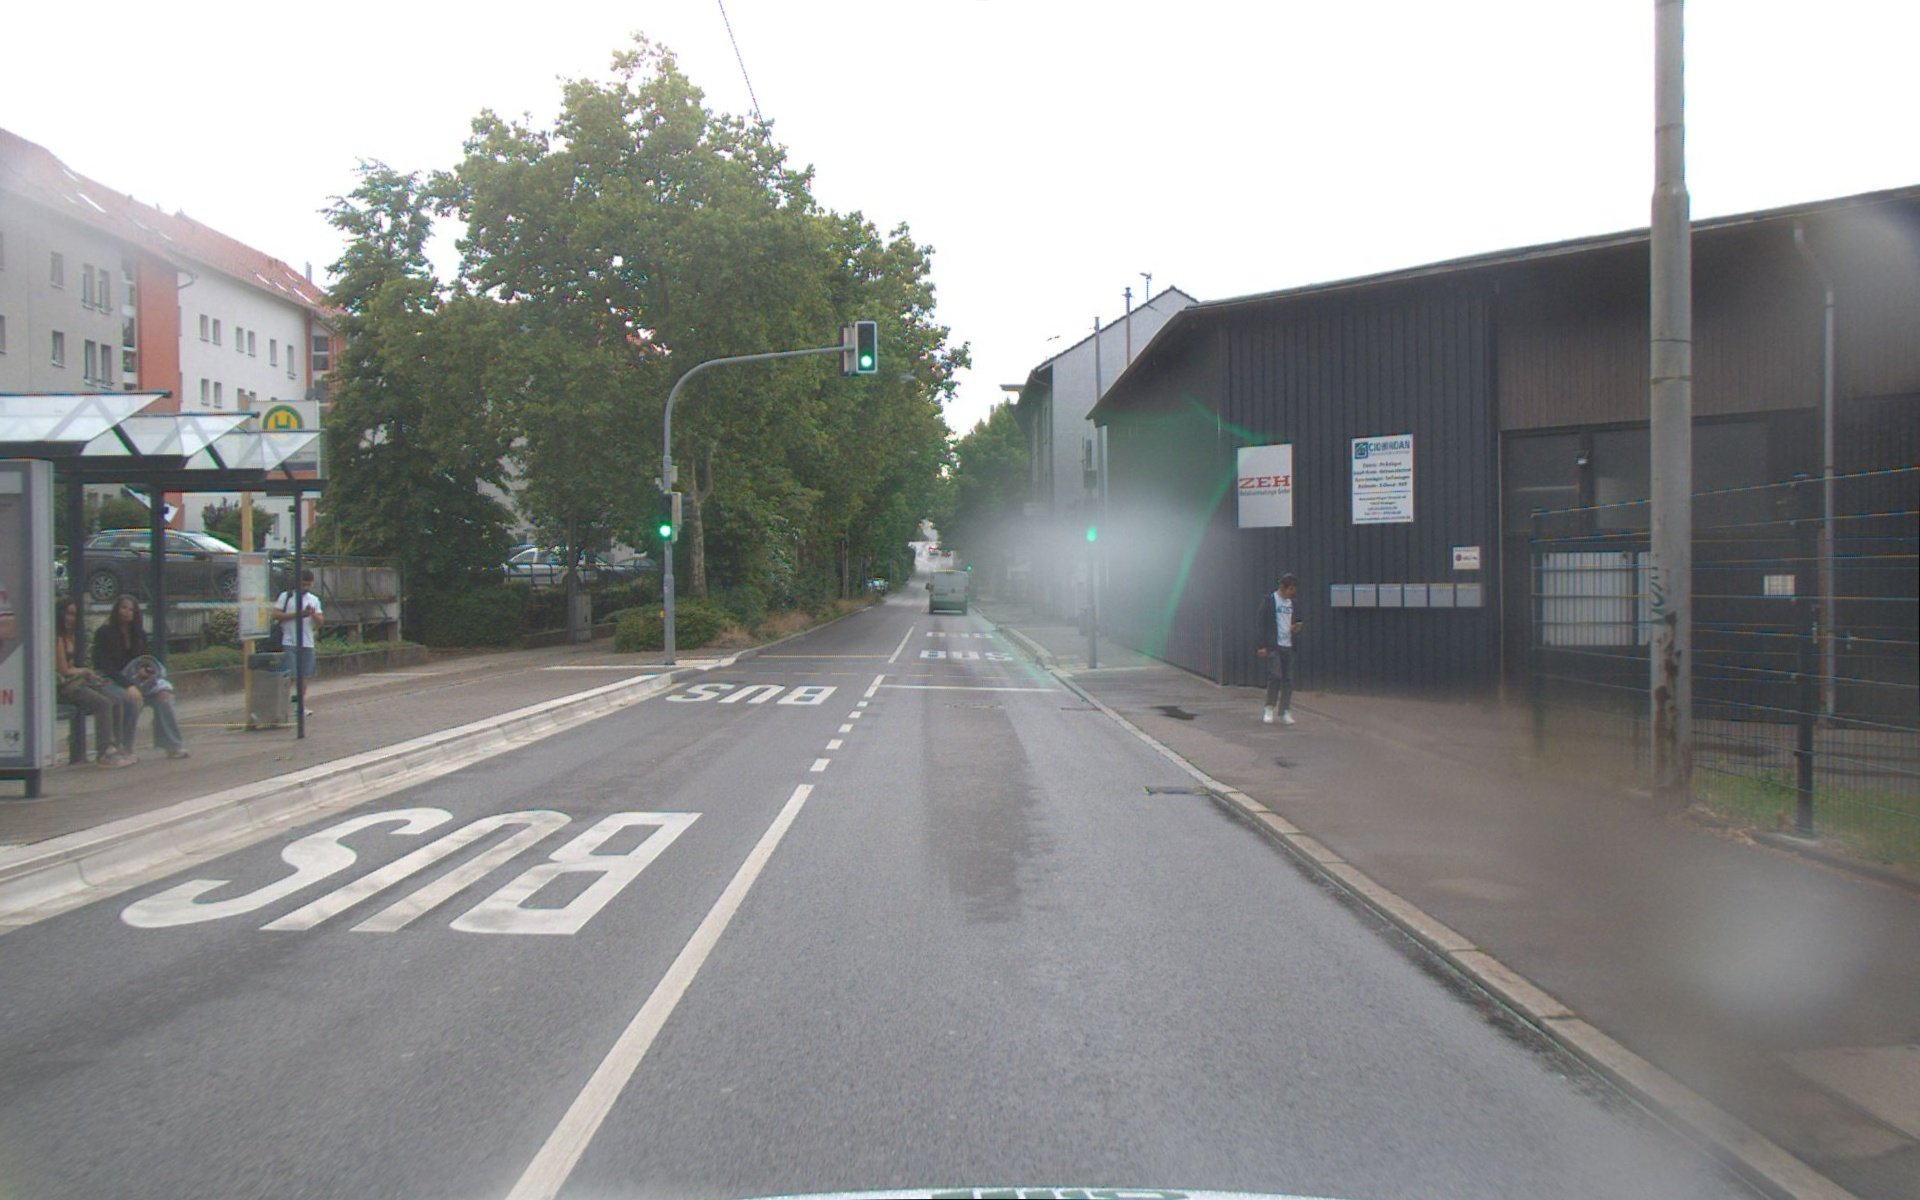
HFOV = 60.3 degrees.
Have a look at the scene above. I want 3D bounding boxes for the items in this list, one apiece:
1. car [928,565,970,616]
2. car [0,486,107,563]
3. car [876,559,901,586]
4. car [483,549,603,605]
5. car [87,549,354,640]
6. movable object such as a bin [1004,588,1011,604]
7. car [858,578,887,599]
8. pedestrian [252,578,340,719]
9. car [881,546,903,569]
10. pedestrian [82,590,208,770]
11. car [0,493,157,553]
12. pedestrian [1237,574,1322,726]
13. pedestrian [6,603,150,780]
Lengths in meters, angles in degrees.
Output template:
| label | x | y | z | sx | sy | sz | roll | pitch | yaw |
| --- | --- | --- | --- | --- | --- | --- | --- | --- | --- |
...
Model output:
| label | x | y | z | sx | sy | sz | roll | pitch | yaw |
| --- | --- | --- | --- | --- | --- | --- | --- | --- | --- |
| car | -0.585 | -0.484 | 88.269 | 2.236 | 2.597 | 3.999 | 0 | -1 | -1 |
| car | -22.110 | -1.760 | 38.308 | 3.734 | 1.630 | 1.717 | 1 | -1 | -3 |
| car | -7.280 | -2.804 | 167.869 | 2.170 | 2.578 | 4.610 | 1 | 0 | 1 |
| car | -15.601 | -0.861 | 62.087 | 4.085 | 2.049 | 1.718 | 0 | 0 | -3 |
| car | -14.899 | -0.086 | 33.513 | 4.453 | 1.701 | 1.999 | 1 | -1 | -2 |
| movable object such as a bin | 3.260 | -0.282 | 113.589 | 0.392 | 1.085 | 0.358 | -3 | -1 | -7 |
| car | -7.517 | -1.002 | 142.497 | 2.170 | 1.620 | 4.610 | 1 | -1 | 1 |
| pedestrian | -7.989 | 0.586 | 19.911 | 0.726 | 1.626 | 0.606 | -4 | -2 | 2 |
| car | -7.798 | -4.869 | 189.084 | 2.170 | 2.334 | 4.609 | 1 | -2 | 1 |
| pedestrian | -6.834 | 0.665 | 13.892 | 0.673 | 1.443 | 0.641 | -3 | -2 | 3 |
| car | -23.934 | -2.073 | 44.816 | 3.526 | 1.418 | 1.542 | 1 | -1 | -3 |
| pedestrian | 3.742 | 0.580 | 19.412 | 0.728 | 1.734 | 0.900 | 1 | -1 | -6 |
| pedestrian | -6.986 | 0.718 | 13.126 | 0.759 | 1.340 | 0.641 | -2 | -2 | 3 |
